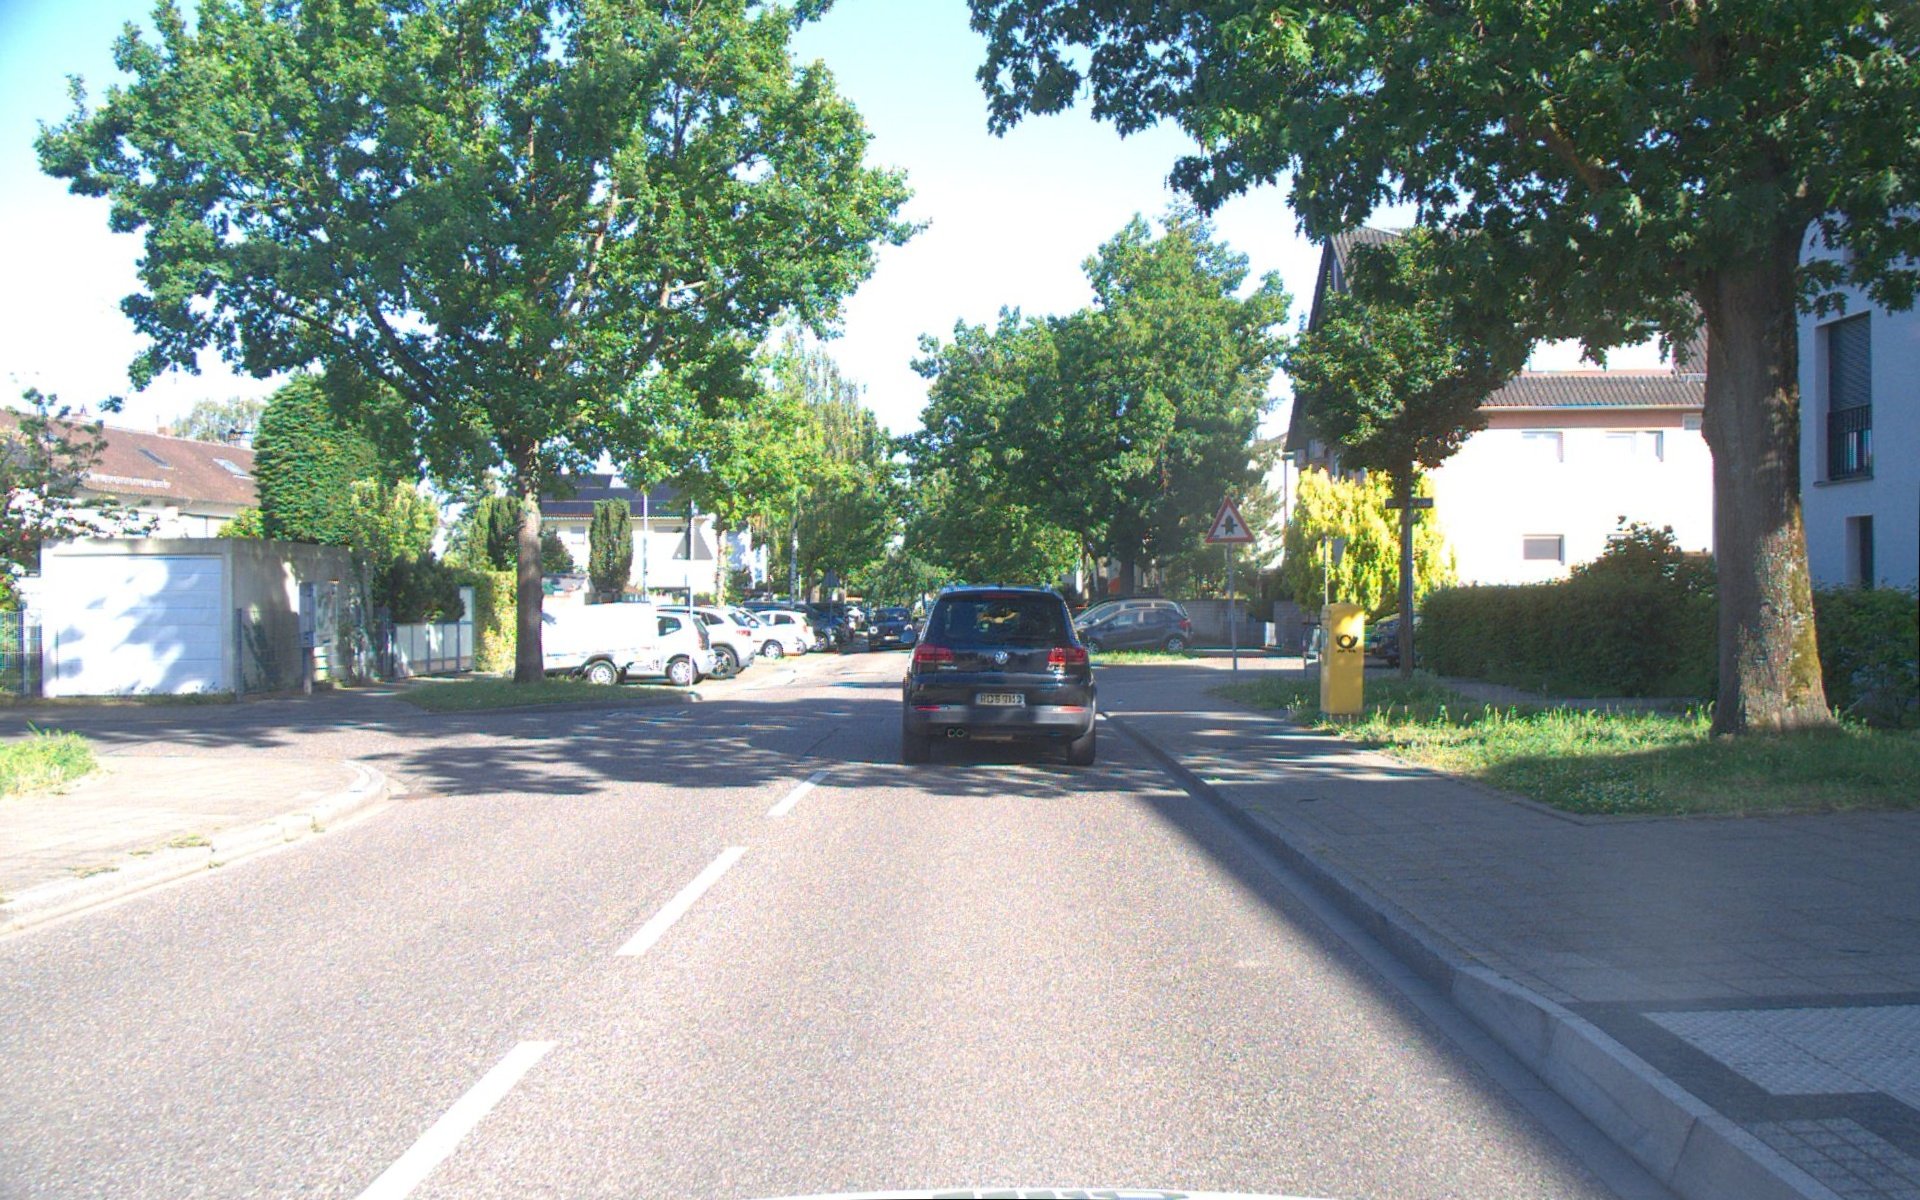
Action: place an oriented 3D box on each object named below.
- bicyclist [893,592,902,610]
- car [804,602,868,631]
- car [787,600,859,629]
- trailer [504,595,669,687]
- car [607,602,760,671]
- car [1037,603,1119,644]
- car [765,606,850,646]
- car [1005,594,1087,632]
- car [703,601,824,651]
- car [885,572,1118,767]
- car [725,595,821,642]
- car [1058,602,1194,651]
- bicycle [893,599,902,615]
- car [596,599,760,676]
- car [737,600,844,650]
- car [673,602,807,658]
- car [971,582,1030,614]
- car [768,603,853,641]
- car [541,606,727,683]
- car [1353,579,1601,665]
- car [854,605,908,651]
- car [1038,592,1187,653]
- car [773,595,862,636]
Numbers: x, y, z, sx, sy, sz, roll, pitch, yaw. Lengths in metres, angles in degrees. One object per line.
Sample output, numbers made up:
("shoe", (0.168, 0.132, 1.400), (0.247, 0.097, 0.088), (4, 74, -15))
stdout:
("bicyclist", (-4.940, 0.101, 131.638), (0.687, 1.370, 0.506), (-1, -2, -5))
("car", (-7.830, 1.033, 104.349), (3.913, 1.714, 1.919), (-1, 0, -9))
("car", (-7.697, 0.805, 93.116), (3.905, 1.525, 1.999), (-1, -2, 0))
("trailer", (-7.152, 0.776, 31.869), (2.909, 1.685, 1.395), (-1, 0, -5))
("car", (-6.637, 0.869, 39.989), (3.480, 1.585, 1.850), (-1, -1, -6))
("car", (4.558, 0.906, 64.249), (2.986, 1.534, 1.245), (-1, -1, -7))
("car", (-6.104, 1.036, 66.415), (3.305, 1.516, 1.642), (-1, 0, -5))
("car", (4.203, 0.651, 80.851), (3.905, 1.806, 1.789), (-1, 0, 0))
("car", (-6.744, 0.869, 57.056), (3.905, 1.668, 2.000), (0, 0, 1))
("car", (0.268, 0.615, 16.798), (1.891, 1.683, 4.510), (1, 0, -5))
("car", (-7.804, 0.765, 69.260), (3.909, 1.868, 1.636), (-1, 0, -5))
("car", (4.978, 0.797, 49.905), (3.906, 1.392, 1.846), (-1, 0, -1))
("bicycle", (-4.948, 0.542, 131.595), (0.625, 1.183, 1.739), (-1, -2, -4))
("car", (-6.235, 0.817, 36.920), (3.481, 1.641, 1.850), (-1, 0, -7))
("car", (-6.307, 0.915, 61.821), (3.909, 1.762, 1.998), (-1, 0, -5))
("car", (-6.839, 0.925, 51.714), (3.905, 1.699, 2.000), (-1, 0, 0))
("car", (2.744, -0.142, 112.394), (3.905, 2.049, 1.999), (-1, -2, 0))
("car", (-7.112, 1.067, 78.897), (3.906, 1.750, 1.820), (0, -2, -2))
("car", (-6.696, 0.894, 34.235), (3.477, 1.503, 1.808), (-1, 0, -1))
("car", (12.104, 0.530, 38.937), (5.136, 1.880, 2.070), (-1, -2, -4))
("car", (-2.938, 1.008, 61.852), (1.871, 1.582, 3.999), (-2, 0, -2))
("car", (4.787, 0.702, 52.401), (4.539, 1.841, 1.823), (-1, 0, -1))
("car", (-6.998, 0.778, 81.379), (4.304, 1.973, 1.577), (0, -2, -5))
